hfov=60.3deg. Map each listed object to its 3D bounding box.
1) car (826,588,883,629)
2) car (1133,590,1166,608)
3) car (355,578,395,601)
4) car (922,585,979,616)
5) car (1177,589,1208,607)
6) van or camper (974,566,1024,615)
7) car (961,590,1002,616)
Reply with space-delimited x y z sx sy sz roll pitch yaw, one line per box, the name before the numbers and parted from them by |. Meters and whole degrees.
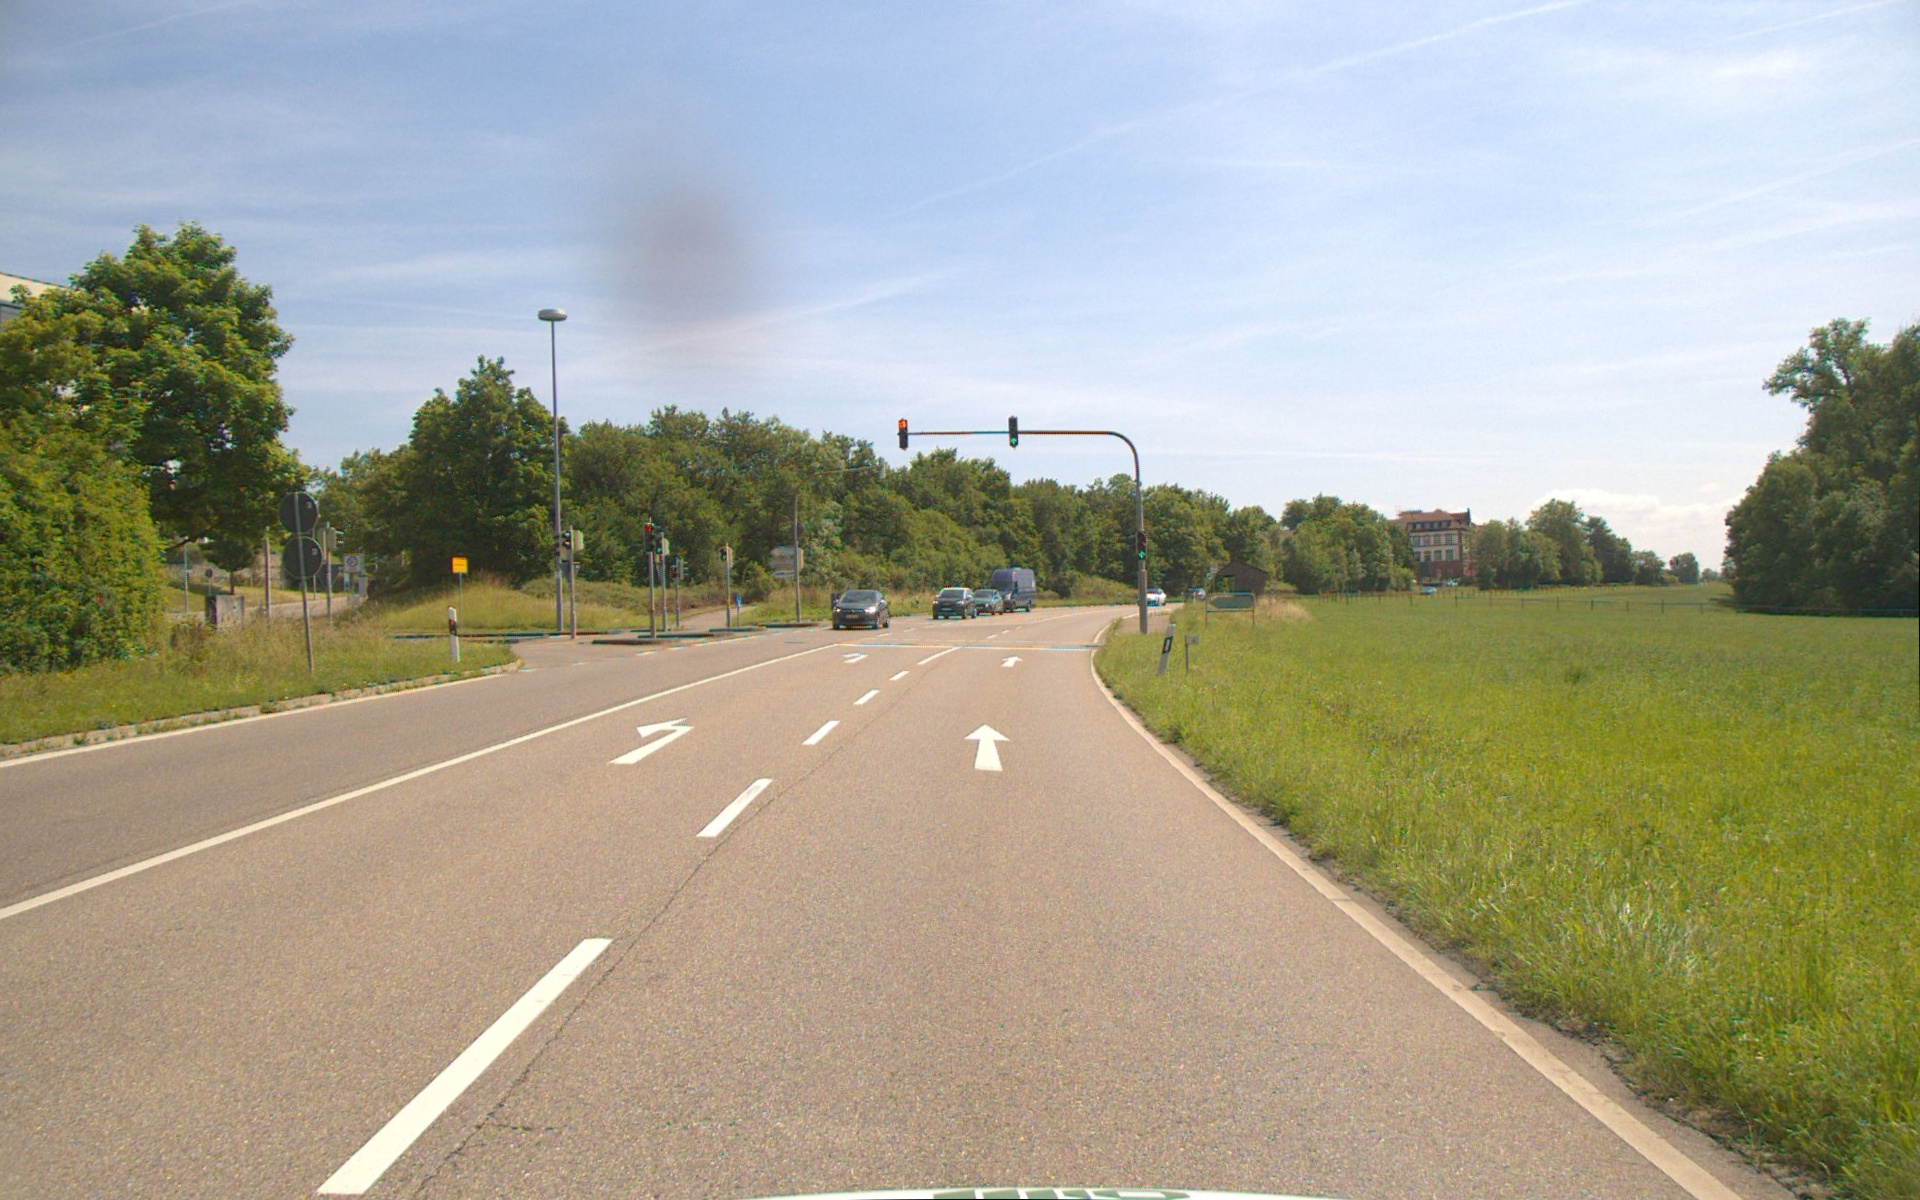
car | -4.026 0.316 63.599 1.754 1.500 4.312 0 0 2
car | 17.262 -0.100 150.213 1.897 1.575 4.628 0 0 21
car | -41.587 -0.730 117.656 1.957 1.579 3.992 0 0 -9
car | -0.458 0.019 84.698 1.932 1.589 4.192 0 0 14
car | 20.811 -0.177 147.820 1.952 1.601 4.001 0 0 19
van or camper | 2.579 -0.666 107.386 2.192 2.964 7.254 0 1 9
car | 1.281 0.163 97.328 1.670 1.509 3.835 0 0 12
